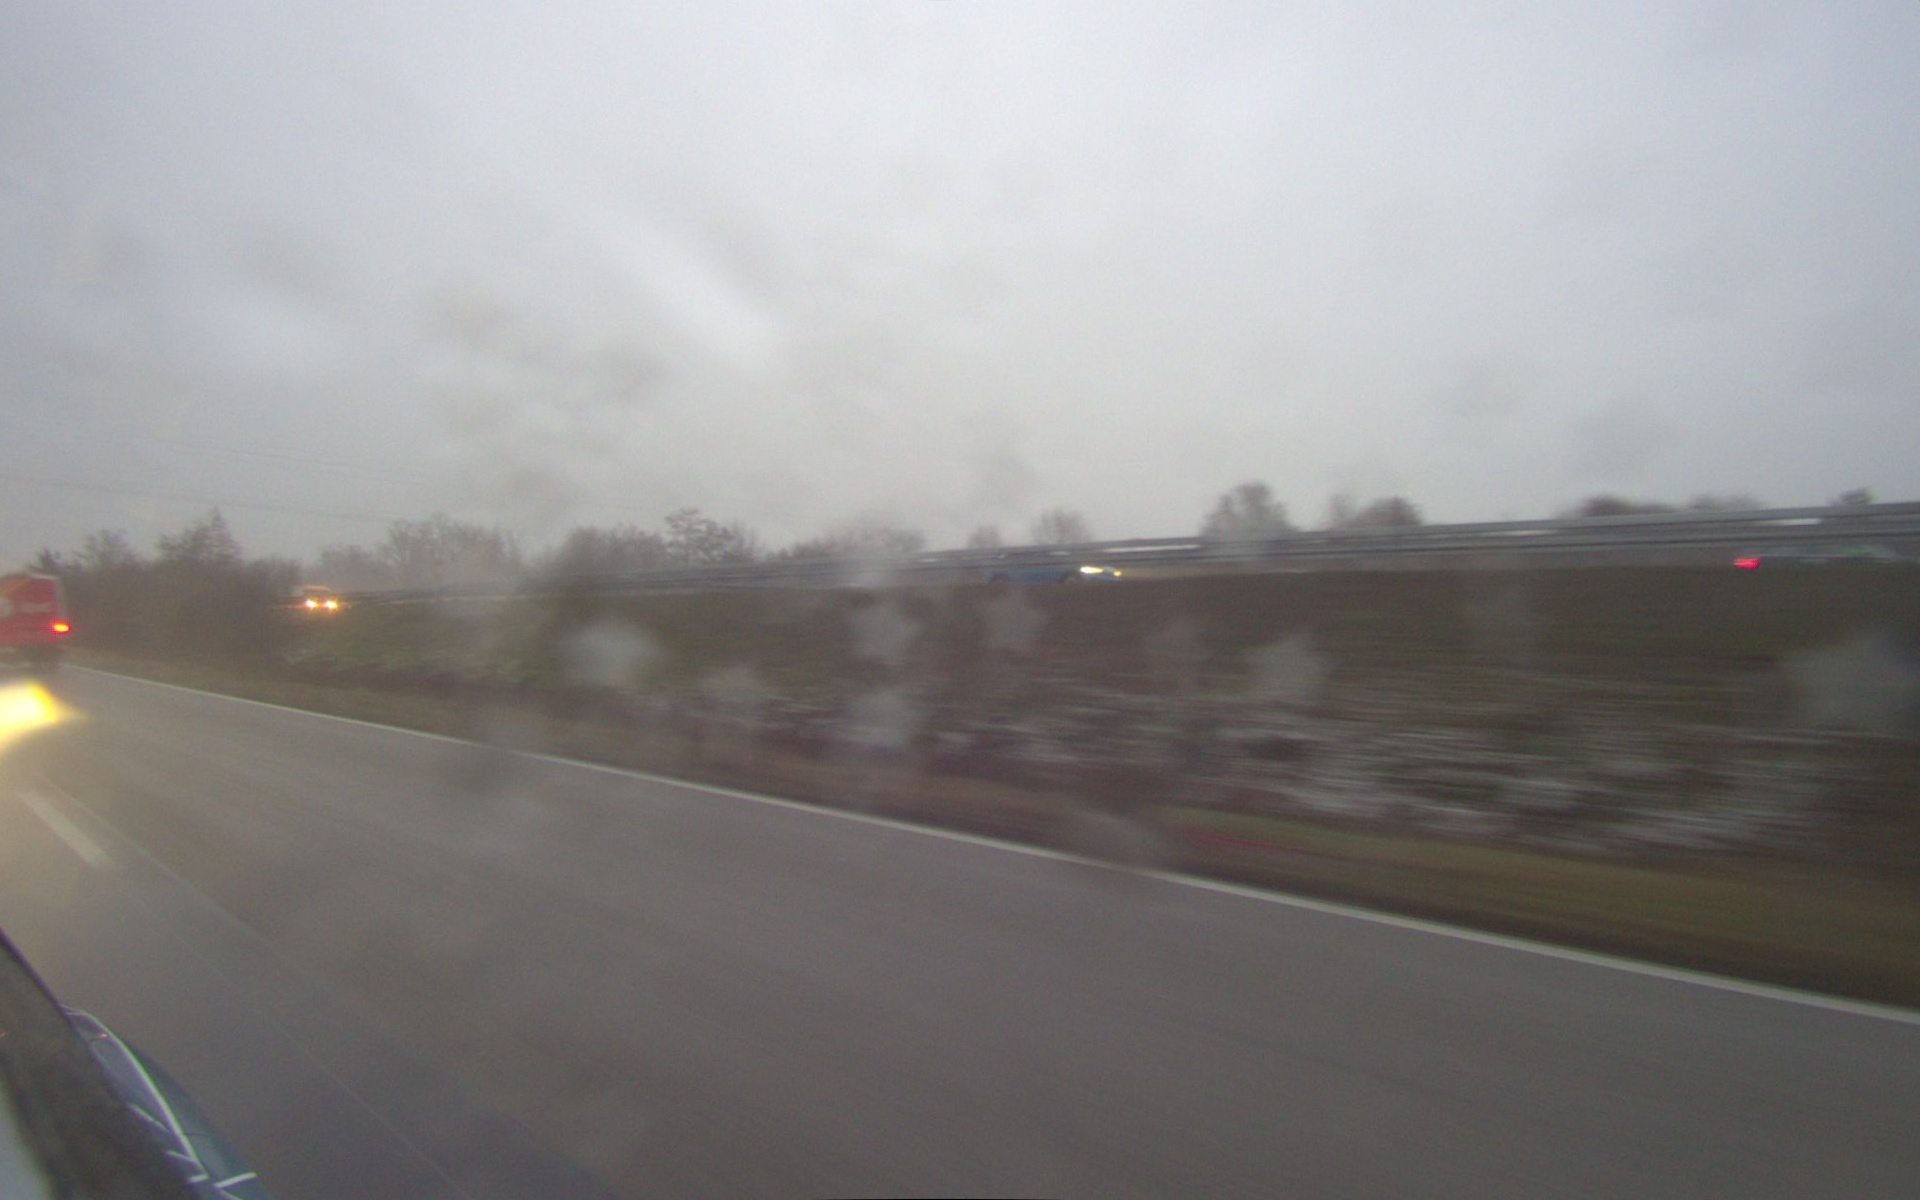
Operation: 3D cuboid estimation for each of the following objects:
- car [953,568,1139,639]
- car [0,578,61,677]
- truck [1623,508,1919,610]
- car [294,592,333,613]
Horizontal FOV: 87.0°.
[{"bbox_3d":[2.626,0.124,31.907,5.601,2.029,2.288,-1,0,41],"label":"car"},{"bbox_3d":[-28.290,0.804,29.847,6.268,2.695,1.932,-2,-1,42],"label":"car"},{"bbox_3d":[18.452,-0.818,22.826,5.601,2.029,2.288,-1,0,41],"label":"truck"},{"bbox_3d":[-54.999,0.249,86.090,4.108,1.725,1.704,-1,0,41],"label":"car"}]
